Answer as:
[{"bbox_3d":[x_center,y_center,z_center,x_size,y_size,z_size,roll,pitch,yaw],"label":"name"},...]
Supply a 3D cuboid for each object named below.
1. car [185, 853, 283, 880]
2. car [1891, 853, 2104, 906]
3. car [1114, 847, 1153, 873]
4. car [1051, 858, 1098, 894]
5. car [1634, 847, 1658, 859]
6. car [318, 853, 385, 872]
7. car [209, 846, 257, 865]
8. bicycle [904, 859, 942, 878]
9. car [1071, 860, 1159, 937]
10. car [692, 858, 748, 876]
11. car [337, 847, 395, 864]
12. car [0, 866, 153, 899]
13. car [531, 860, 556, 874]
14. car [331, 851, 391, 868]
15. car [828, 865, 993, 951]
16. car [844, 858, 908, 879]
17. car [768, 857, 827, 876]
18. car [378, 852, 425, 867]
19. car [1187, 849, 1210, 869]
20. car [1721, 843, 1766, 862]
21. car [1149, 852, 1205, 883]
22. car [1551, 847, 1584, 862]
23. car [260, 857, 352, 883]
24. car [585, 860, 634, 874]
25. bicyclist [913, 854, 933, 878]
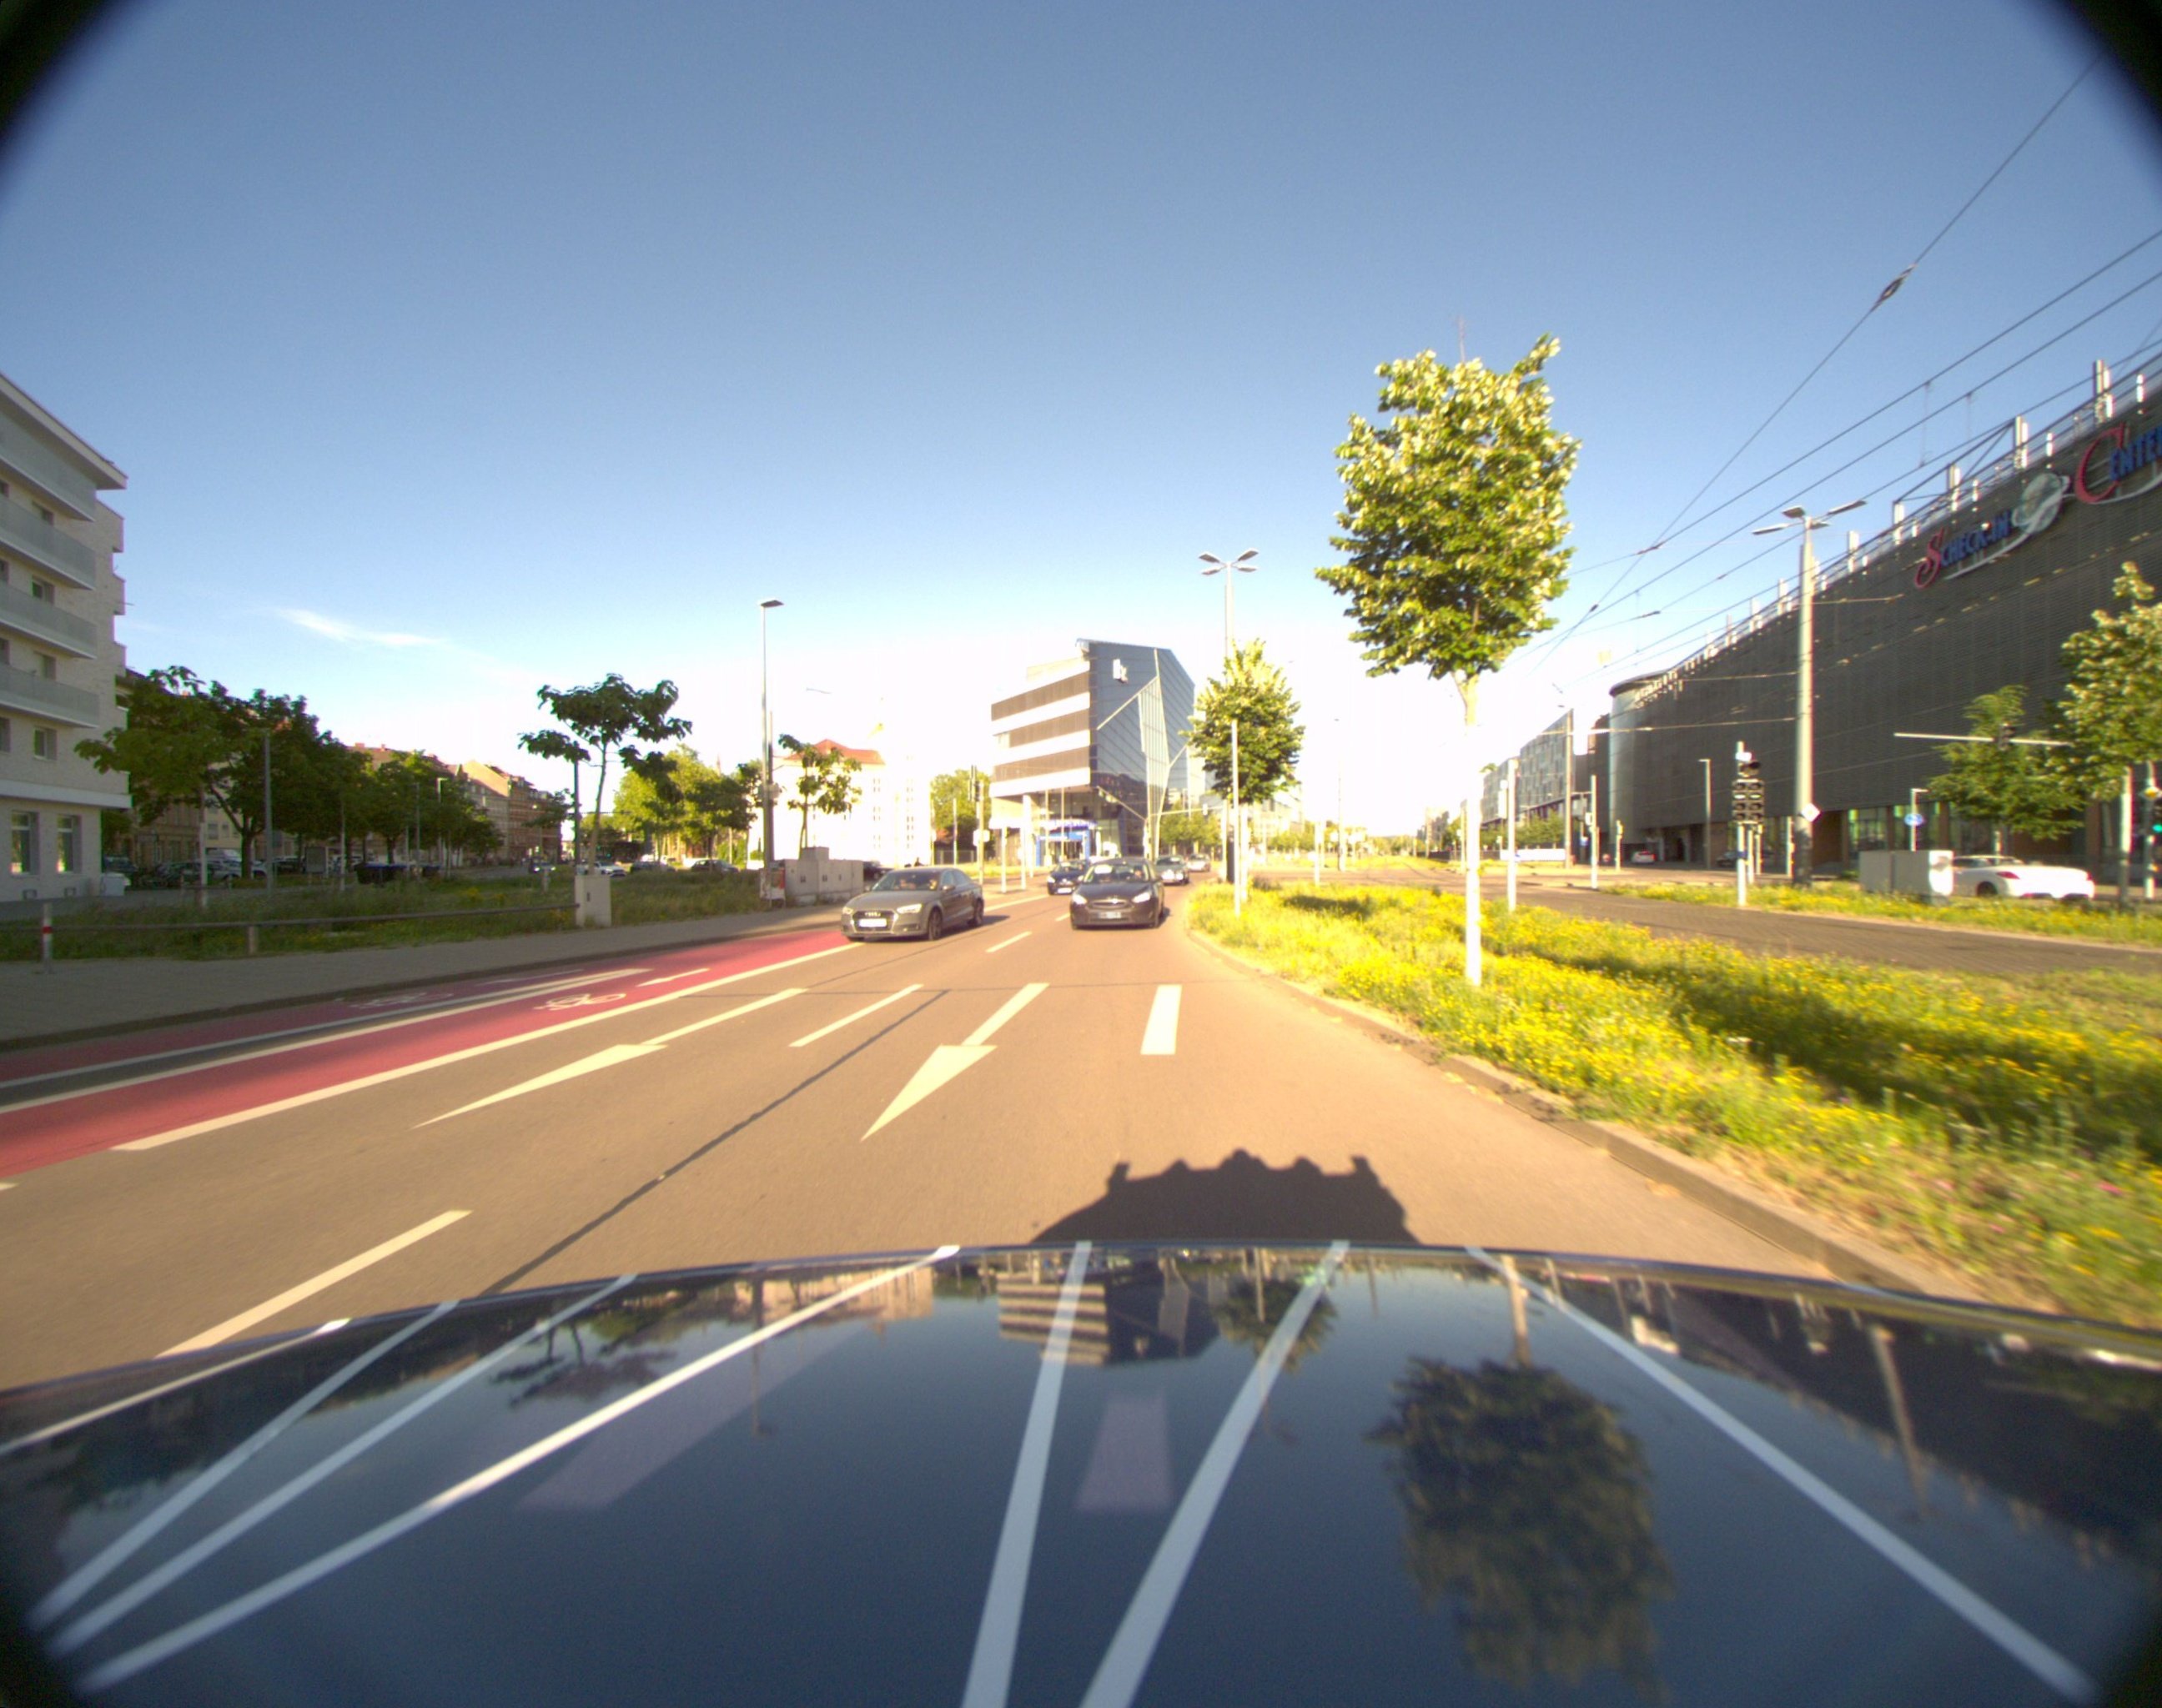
[{"bbox_3d":[-57.897,0.824,52.038,1.996,1.707,4.005,0,1,17],"label":"car"},{"bbox_3d":[26.280,0.672,22.066,1.808,1.320,4.410,1,1,17],"label":"car"},{"bbox_3d":[3.208,0.336,45.871,1.437,1.437,4.005,0,1,18],"label":"car"},{"bbox_3d":[-0.223,0.914,33.050,1.735,1.437,4.001,0,1,3],"label":"car"},{"bbox_3d":[63.065,-0.107,84.843,1.688,1.364,3.597,0,1,30],"label":"car"},{"bbox_3d":[-67.187,0.760,70.029,1.995,1.707,4.007,0,1,25],"label":"car"},{"bbox_3d":[-82.292,0.127,73.798,2.003,1.707,4.251,-1,1,-32],"label":"car"},{"bbox_3d":[-10.706,0.986,51.573,2.367,1.304,0.953,0,1,18],"label":"bicycle"},{"bbox_3d":[0.835,0.881,16.785,1.689,1.425,4.154,0,0,5],"label":"car"},{"bbox_3d":[-29.492,1.059,62.120,3.990,1.414,2.003,0,1,24],"label":"car"},{"bbox_3d":[-76.439,0.146,81.333,1.995,1.707,4.006,0,1,23],"label":"car"},{"bbox_3d":[-48.151,1.343,36.526,4.003,1.390,1.997,-1,1,-18],"label":"car"},{"bbox_3d":[-55.952,1.299,79.121,1.938,1.368,3.989,-1,1,-38],"label":"car"},{"bbox_3d":[-78.438,0.568,82.834,1.994,1.707,4.270,0,1,30],"label":"car"},{"bbox_3d":[-3.310,1.007,15.652,1.713,1.433,4.114,-1,0,12],"label":"car"},{"bbox_3d":[-15.184,1.054,56.277,4.284,1.414,2.003,0,1,24],"label":"car"},{"bbox_3d":[-22.079,0.990,59.195,3.990,1.414,2.003,0,1,24],"label":"car"},{"bbox_3d":[-87.719,0.667,98.106,1.995,1.805,4.007,0,1,27],"label":"car"},{"bbox_3d":[9.315,0.386,59.987,1.619,1.421,3.770,-2,1,12],"label":"car"},{"bbox_3d":[58.078,-0.135,66.698,1.582,1.521,3.755,-1,1,17],"label":"car"},{"bbox_3d":[5.015,0.672,39.441,1.746,1.496,3.886,-1,1,25],"label":"car"},{"bbox_3d":[52.067,0.016,81.427,1.808,1.566,4.299,0,1,16],"label":"car"},{"bbox_3d":[-54.378,1.115,53.422,1.996,1.707,4.005,0,1,17],"label":"car"},{"bbox_3d":[-42.829,1.173,69.001,3.989,1.237,2.004,0,1,28],"label":"car"},{"bbox_3d":[-10.718,0.828,51.589,1.006,1.598,0.881,0,1,18],"label":"bicyclist"}]
